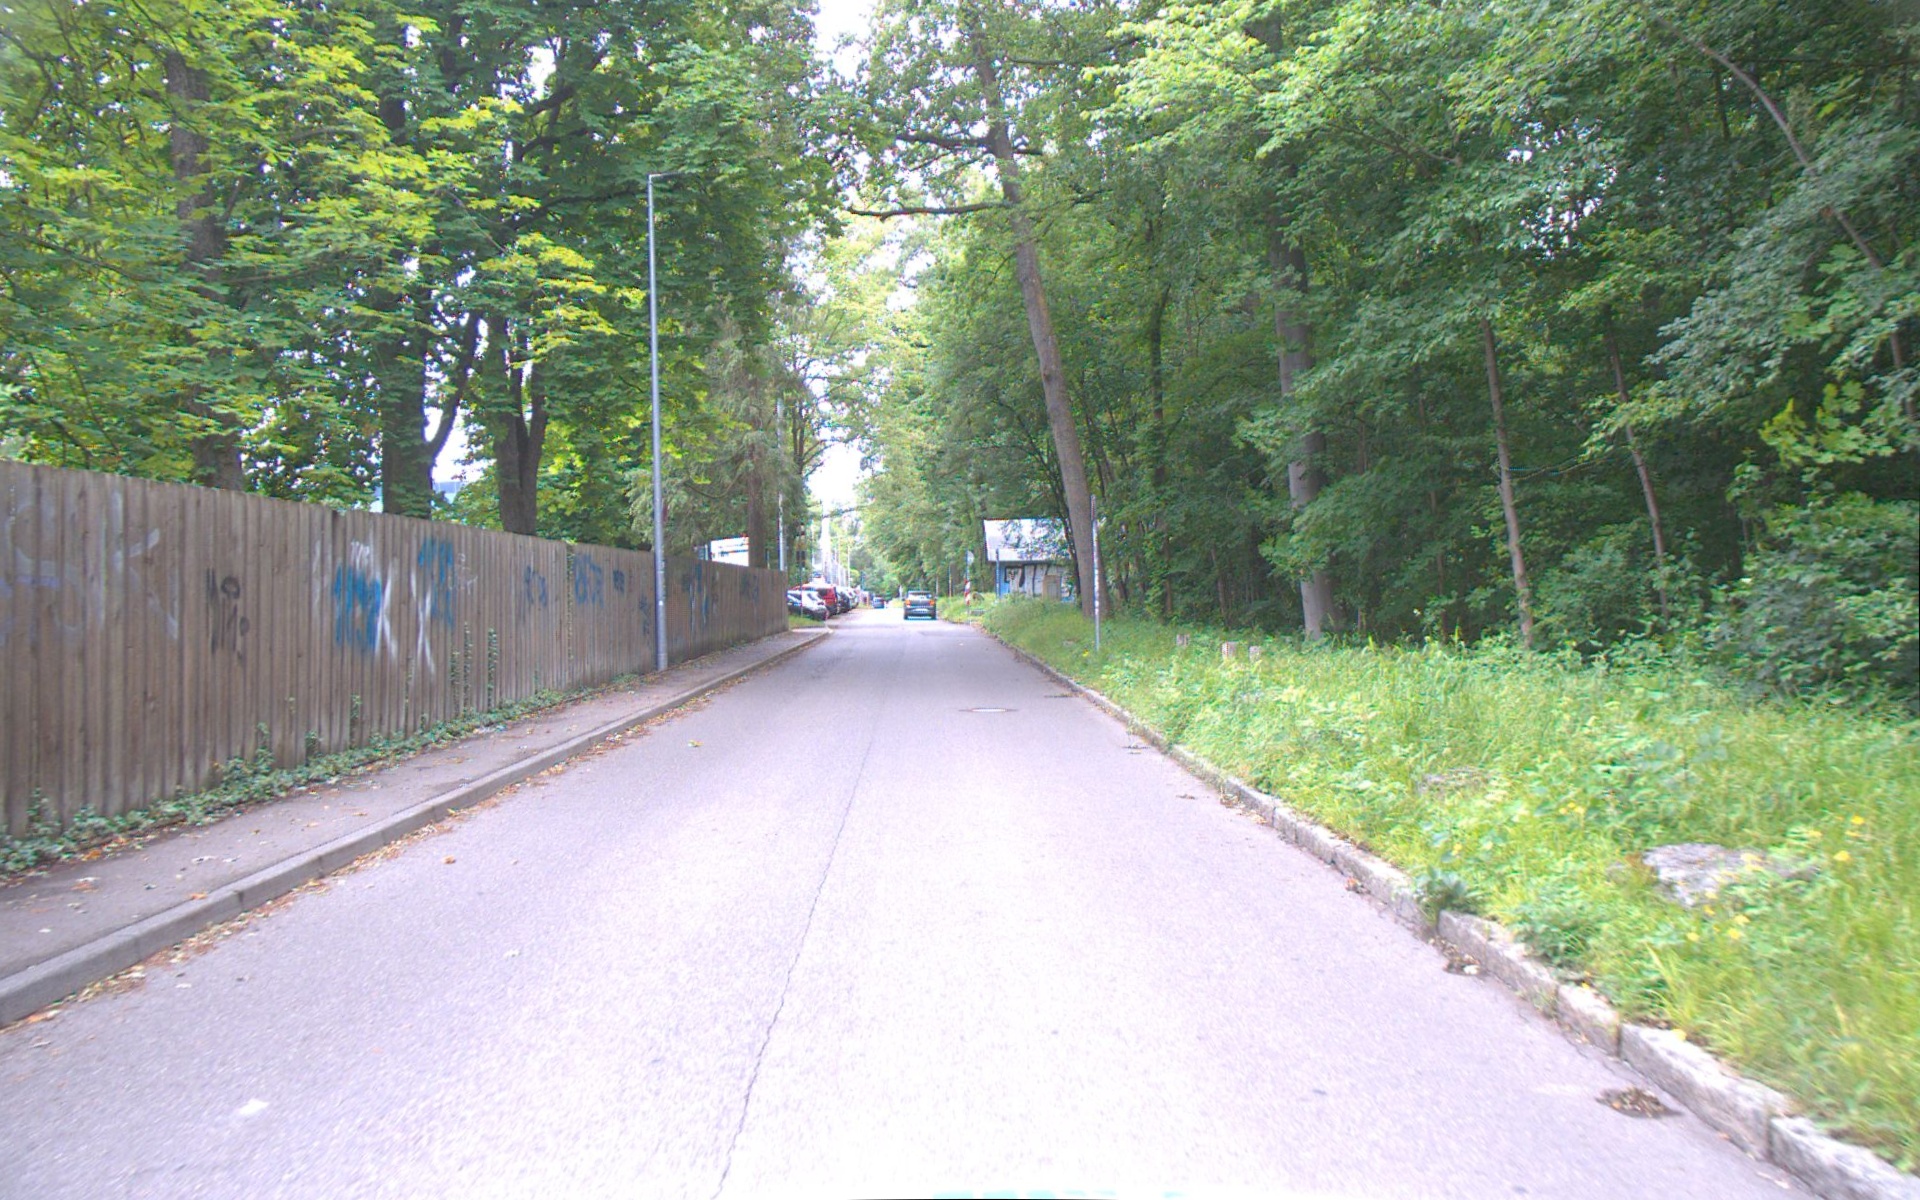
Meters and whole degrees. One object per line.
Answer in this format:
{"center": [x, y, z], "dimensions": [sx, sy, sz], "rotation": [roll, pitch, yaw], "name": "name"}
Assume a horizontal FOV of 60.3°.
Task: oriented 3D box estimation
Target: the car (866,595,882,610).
{"center": [-11.795, 0.343, 226.863], "dimensions": [1.956, 2.049, 3.994], "rotation": [-2, 0, -7], "name": "car"}

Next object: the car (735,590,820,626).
{"center": [-8.690, 0.371, 79.056], "dimensions": [3.910, 1.601, 1.998], "rotation": [-2, 0, -6], "name": "car"}

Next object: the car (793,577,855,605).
{"center": [-8.879, -0.576, 108.462], "dimensions": [3.907, 1.623, 1.764], "rotation": [-3, 0, -2], "name": "car"}

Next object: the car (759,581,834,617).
{"center": [-8.864, -0.057, 89.895], "dimensions": [3.909, 1.780, 1.998], "rotation": [-2, 0, -5], "name": "car"}

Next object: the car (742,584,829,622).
{"center": [-8.073, 0.121, 76.747], "dimensions": [3.910, 1.601, 1.998], "rotation": [-2, 1, -6], "name": "car"}

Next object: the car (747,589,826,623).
{"center": [-8.878, 0.299, 84.678], "dimensions": [3.910, 1.601, 1.998], "rotation": [-2, 0, -6], "name": "car"}

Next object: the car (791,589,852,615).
{"center": [-8.246, 0.120, 98.905], "dimensions": [3.500, 1.432, 1.649], "rotation": [-2, 0, -2], "name": "car"}

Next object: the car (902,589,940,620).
{"center": [-1.995, 0.236, 84.898], "dimensions": [1.869, 1.534, 3.999], "rotation": [1, 0, -1], "name": "car"}

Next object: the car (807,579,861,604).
{"center": [-9.462, -0.620, 124.739], "dimensions": [3.907, 1.623, 1.764], "rotation": [-3, 0, -2], "name": "car"}
